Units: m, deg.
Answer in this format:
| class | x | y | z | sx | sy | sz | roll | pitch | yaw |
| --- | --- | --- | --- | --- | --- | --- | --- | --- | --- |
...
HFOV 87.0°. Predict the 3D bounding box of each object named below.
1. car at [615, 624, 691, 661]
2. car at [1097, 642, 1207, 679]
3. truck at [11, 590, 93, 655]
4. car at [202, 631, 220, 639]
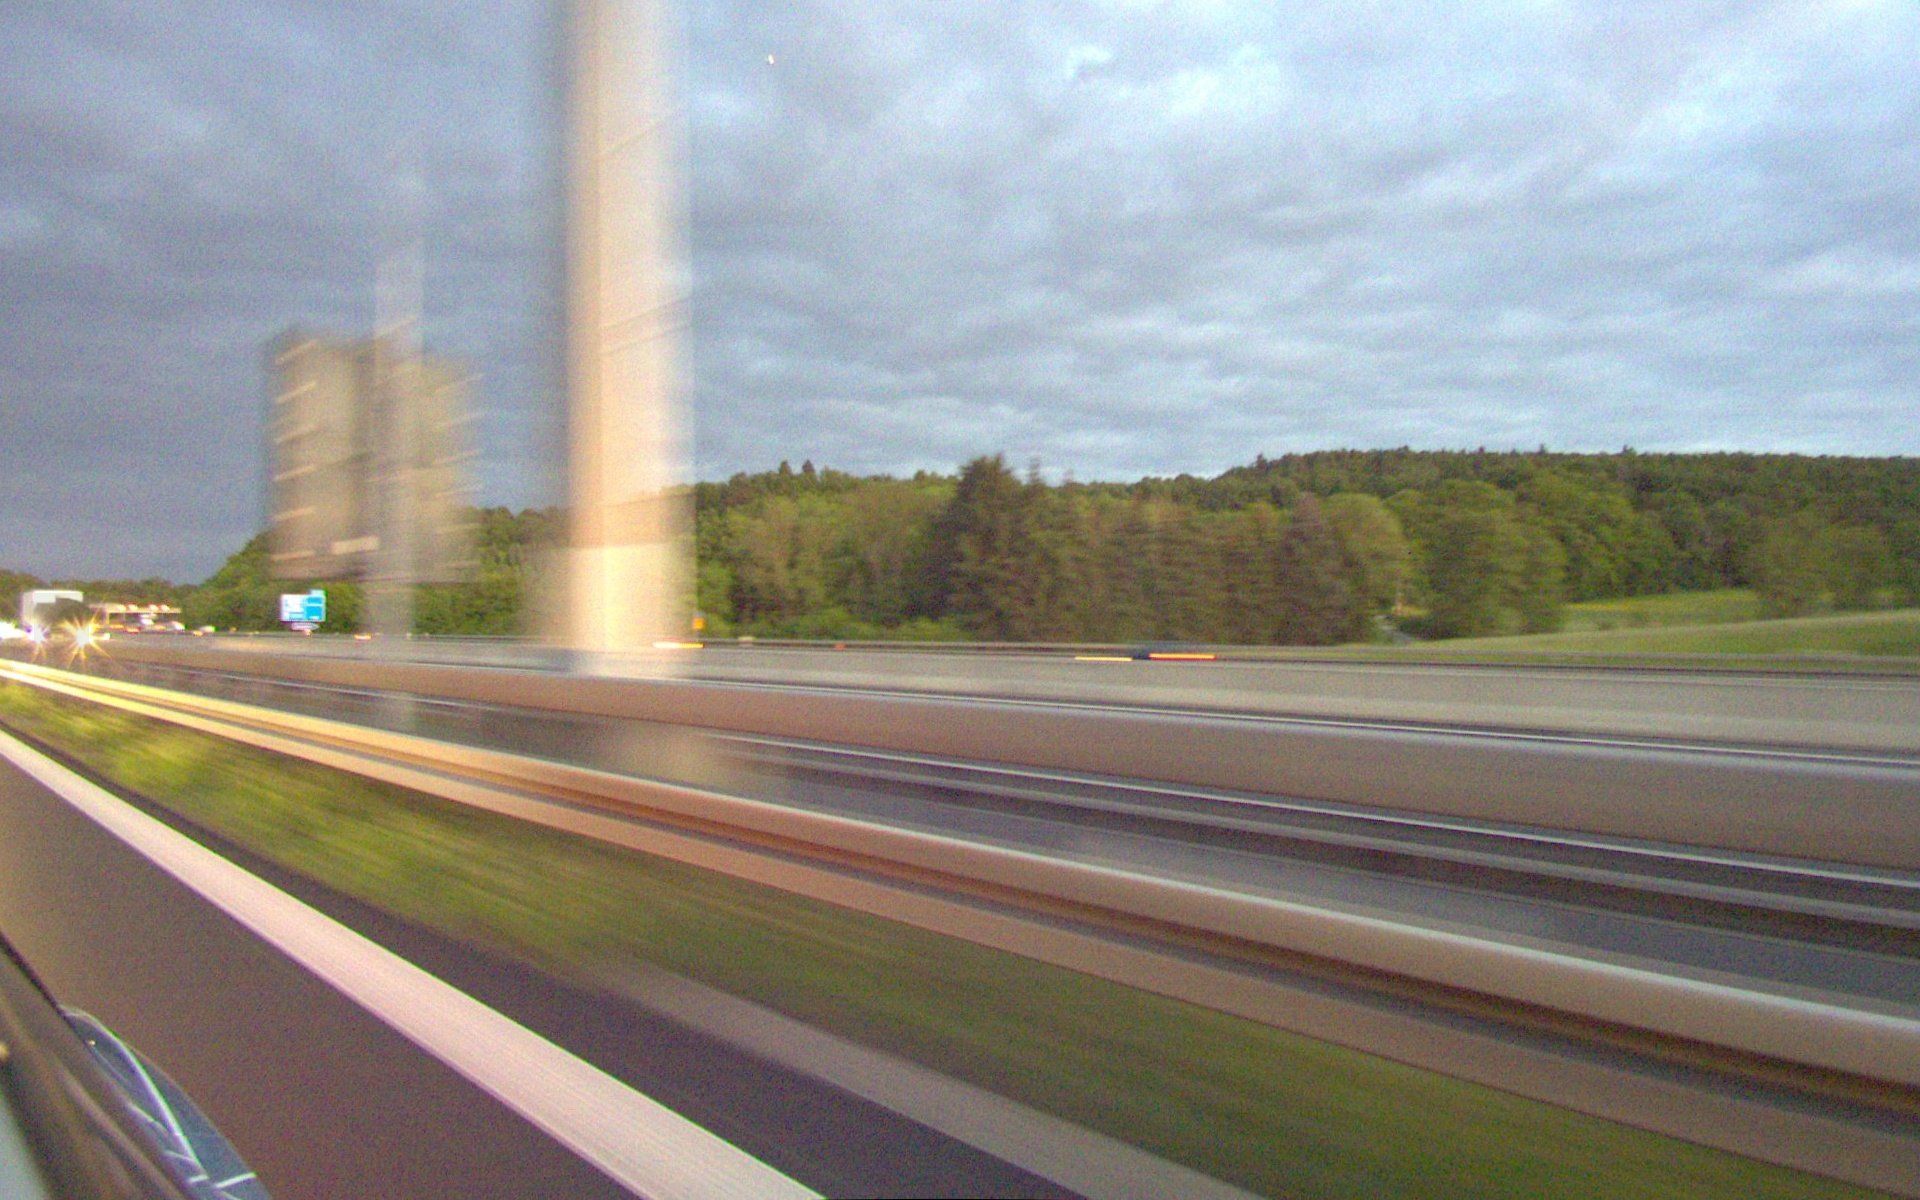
| class | x | y | z | sx | sy | sz | roll | pitch | yaw |
| --- | --- | --- | --- | --- | --- | --- | --- | --- | --- |
| car | -17.691 | 2.394 | 58.174 | 4.731 | 2.029 | 1.973 | -1 | -2 | 41 |
| car | 7.512 | 2.340 | 39.717 | 3.889 | 1.329 | 1.750 | -1 | -2 | 39 |
| truck | -64.276 | 1.601 | 71.534 | 9.886 | 4.334 | 3.006 | -1 | -2 | 41 |
| car | -129.326 | 5.999 | 174.656 | 4.468 | 1.454 | 1.816 | -2 | -3 | 44 |
